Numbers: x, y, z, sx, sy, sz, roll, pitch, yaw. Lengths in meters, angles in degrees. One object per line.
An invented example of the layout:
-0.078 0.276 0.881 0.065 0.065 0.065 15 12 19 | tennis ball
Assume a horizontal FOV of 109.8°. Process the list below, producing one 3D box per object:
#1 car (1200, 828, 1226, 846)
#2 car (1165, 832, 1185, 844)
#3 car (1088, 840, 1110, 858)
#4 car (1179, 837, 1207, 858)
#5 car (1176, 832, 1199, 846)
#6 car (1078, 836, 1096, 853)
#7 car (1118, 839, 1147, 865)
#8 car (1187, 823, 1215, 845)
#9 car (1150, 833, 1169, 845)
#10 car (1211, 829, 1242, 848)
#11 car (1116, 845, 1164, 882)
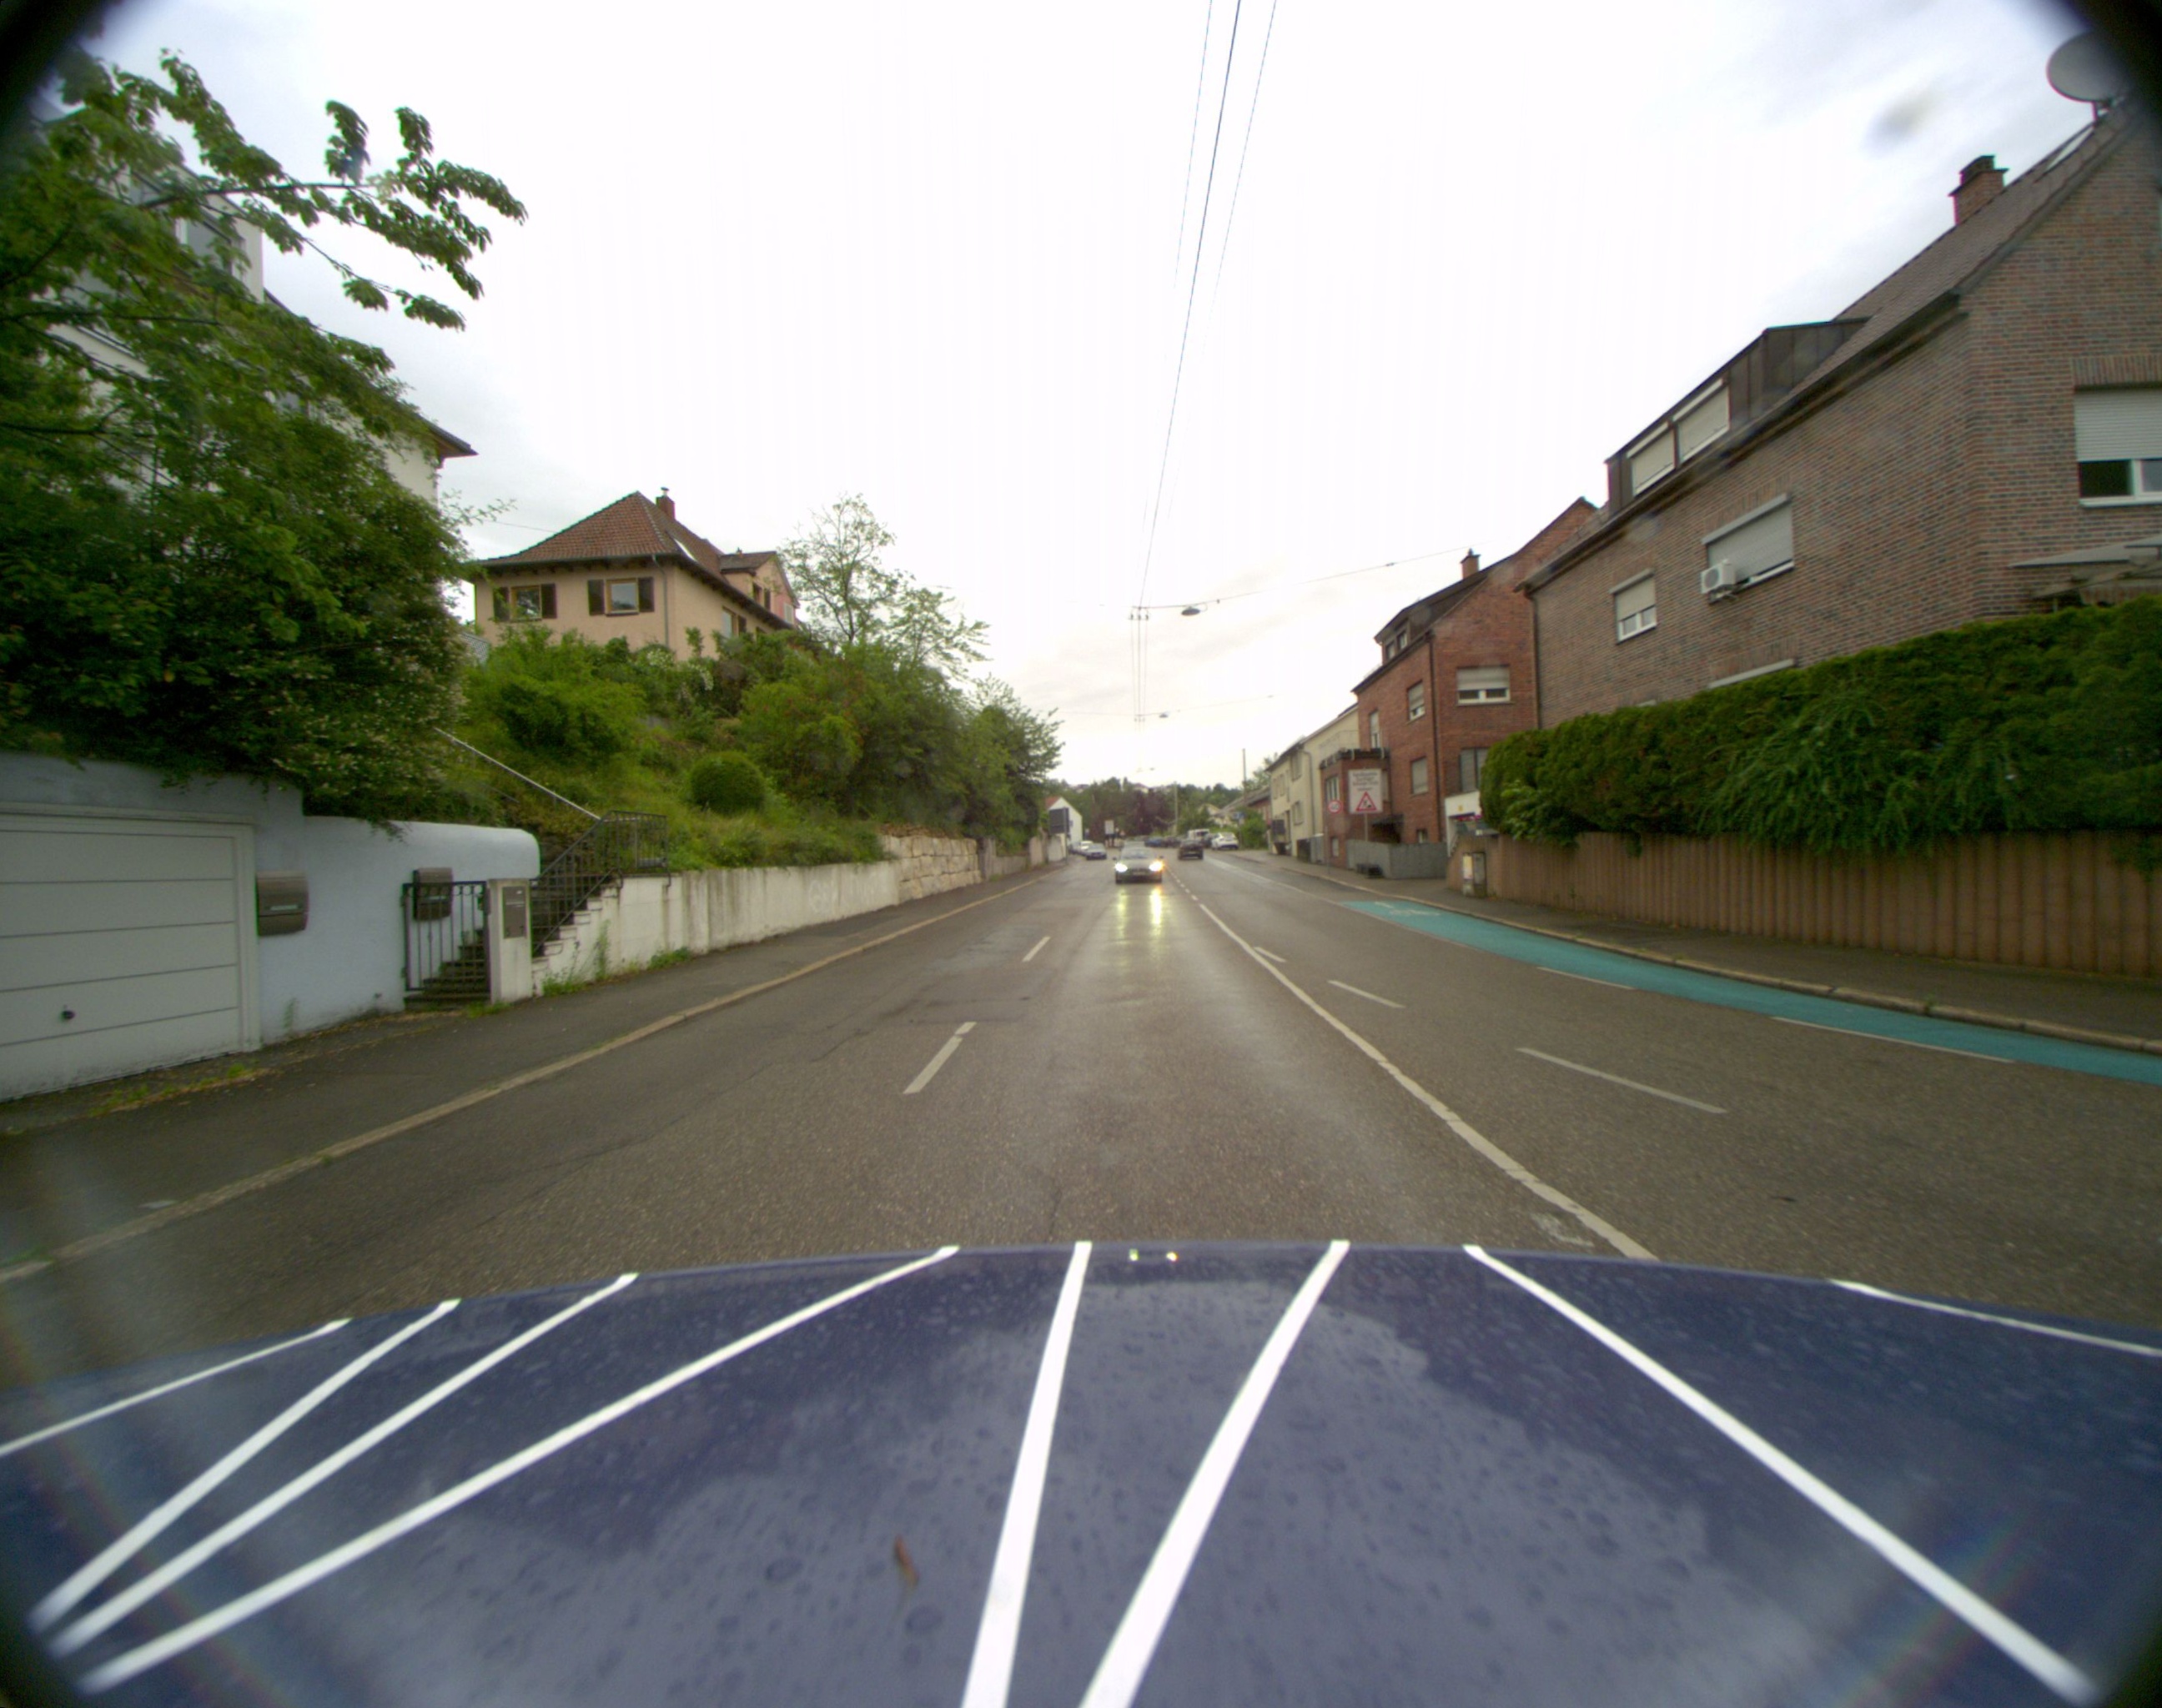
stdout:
13.612 -1.744 78.627 1.815 1.793 4.262 -4 1 0 | car
11.803 -2.006 95.873 1.654 1.388 3.858 -4 1 -6 | car
1.722 -0.461 71.491 2.002 1.596 4.359 -2 -1 2 | car
8.306 -0.496 56.435 1.919 1.438 3.719 -1 1 7 | car
12.599 -1.798 90.001 1.654 1.482 4.009 -4 1 -8 | car
0.676 -1.161 87.212 1.820 1.855 4.038 -2 2 -2 | car
3.340 -0.133 49.681 1.789 1.580 3.783 -2 1 3 | car
13.344 -2.166 84.651 2.257 2.273 4.546 -4 1 -1 | car
10.444 -2.024 101.096 1.624 1.482 3.900 -4 1 -6 | car
13.457 -1.403 70.472 1.946 1.557 4.262 -4 1 0 | car
2.462 0.361 32.443 1.870 1.407 4.000 -2 1 3 | car
